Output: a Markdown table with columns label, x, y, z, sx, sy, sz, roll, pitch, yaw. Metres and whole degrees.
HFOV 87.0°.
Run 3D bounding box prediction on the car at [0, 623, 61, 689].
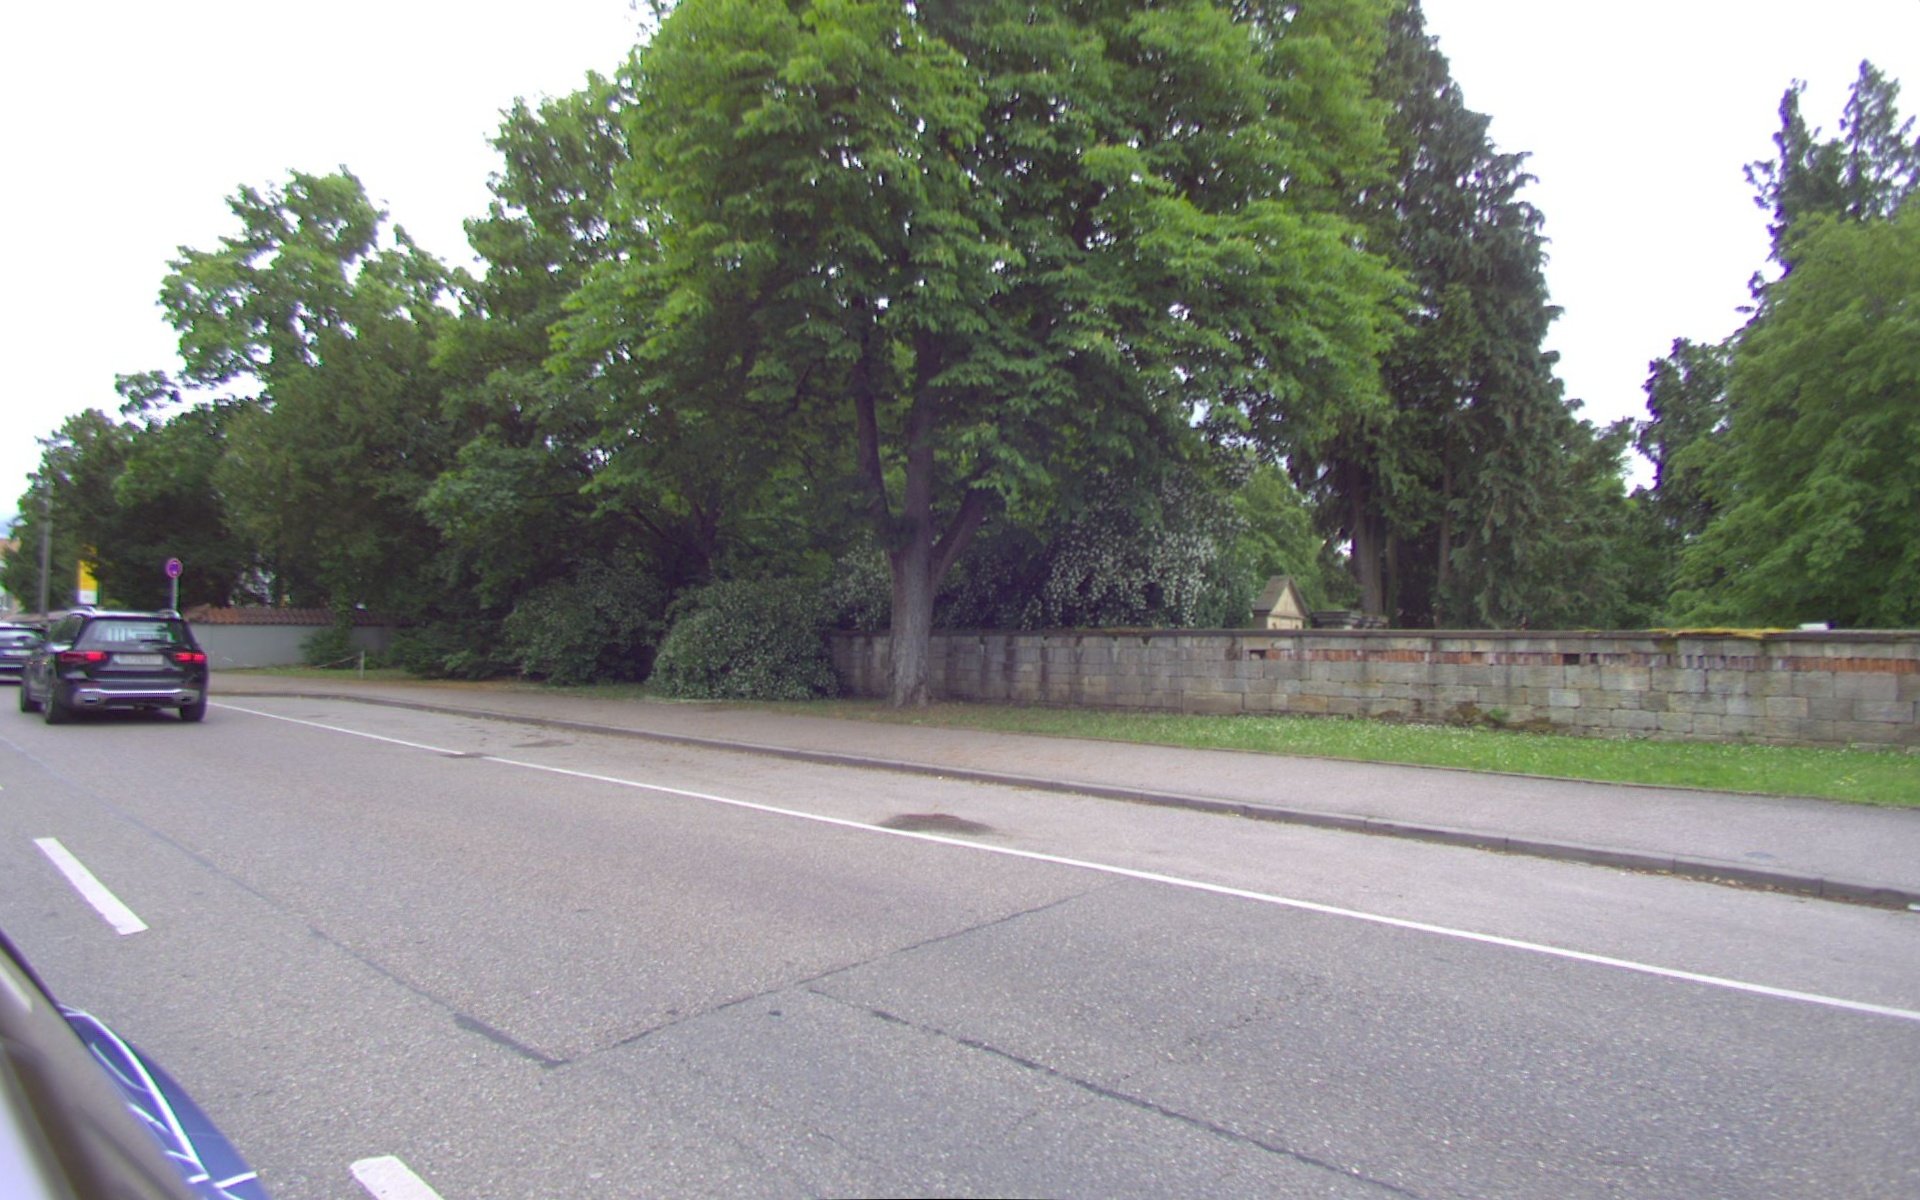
| label | x | y | z | sx | sy | sz | roll | pitch | yaw |
| --- | --- | --- | --- | --- | --- | --- | --- | --- | --- |
| car | -23.463 | 1.320 | 24.729 | 3.998 | 1.495 | 1.683 | -1 | -4 | 41 |

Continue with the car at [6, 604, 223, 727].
| label | x | y | z | sx | sy | sz | roll | pitch | yaw |
| --- | --- | --- | --- | --- | --- | --- | --- | --- | --- |
| car | -13.181 | 0.960 | 15.697 | 4.125 | 1.657 | 1.860 | -1 | -4 | 41 |

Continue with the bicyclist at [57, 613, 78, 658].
| label | x | y | z | sx | sy | sz | roll | pitch | yaw |
| --- | --- | --- | --- | --- | --- | --- | --- | --- | --- |
| bicyclist | -34.795 | 1.382 | 39.447 | 0.587 | 1.697 | 0.482 | -1 | 1 | 40 |

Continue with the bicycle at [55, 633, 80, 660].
| label | x | y | z | sx | sy | sz | roll | pitch | yaw |
| --- | --- | --- | --- | --- | --- | --- | --- | --- | --- |
| bicycle | -34.785 | 1.803 | 39.451 | 1.747 | 0.971 | 0.490 | -1 | 1 | 41 |
